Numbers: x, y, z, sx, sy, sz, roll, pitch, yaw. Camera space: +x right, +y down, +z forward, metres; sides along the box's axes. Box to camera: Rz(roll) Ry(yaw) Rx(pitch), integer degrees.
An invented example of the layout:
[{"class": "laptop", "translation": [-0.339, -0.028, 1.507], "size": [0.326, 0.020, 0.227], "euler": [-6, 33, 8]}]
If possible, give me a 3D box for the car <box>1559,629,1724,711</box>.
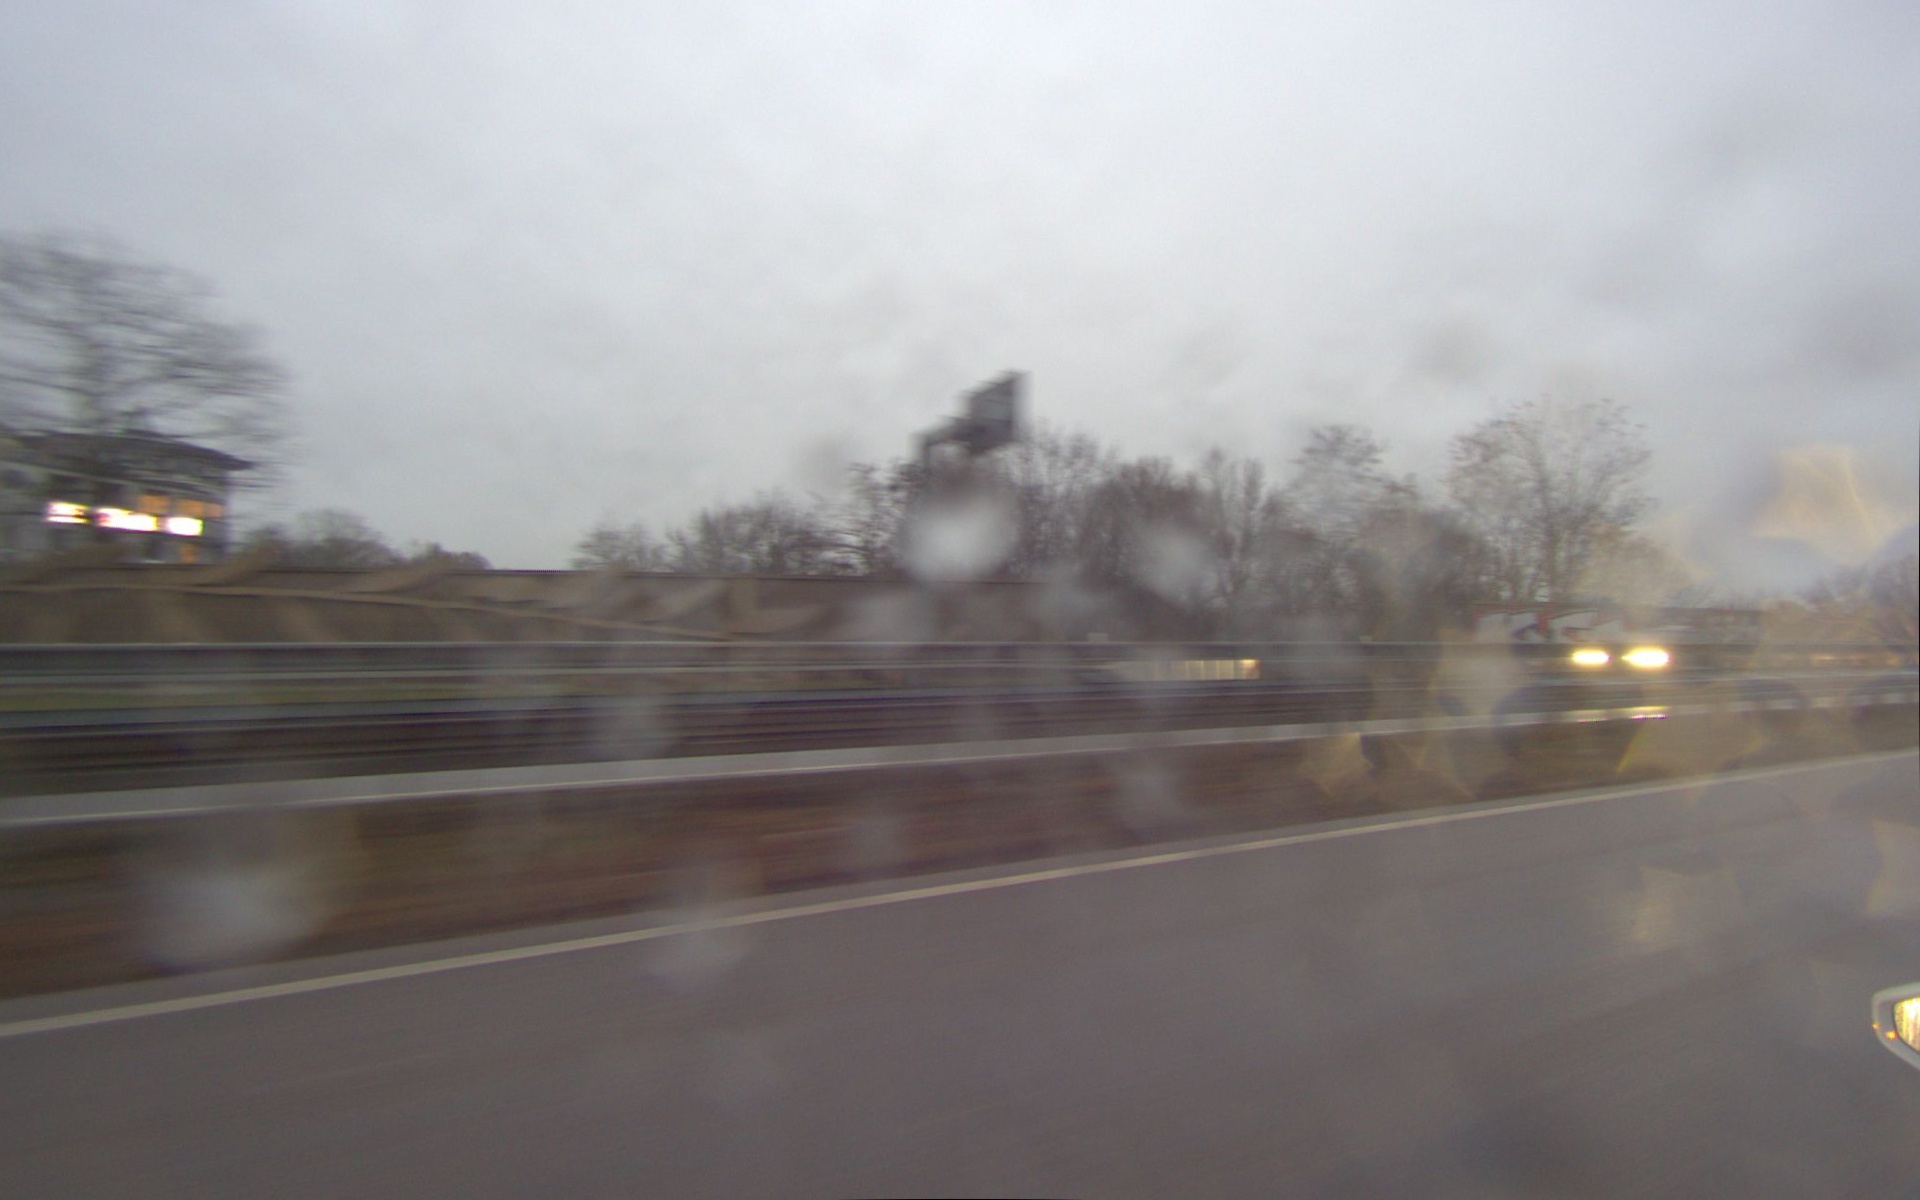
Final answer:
[{"class": "car", "translation": [17.989, 1.781, 26.474], "size": [4.237, 1.944, 1.983], "euler": [1, 0, -31]}]
